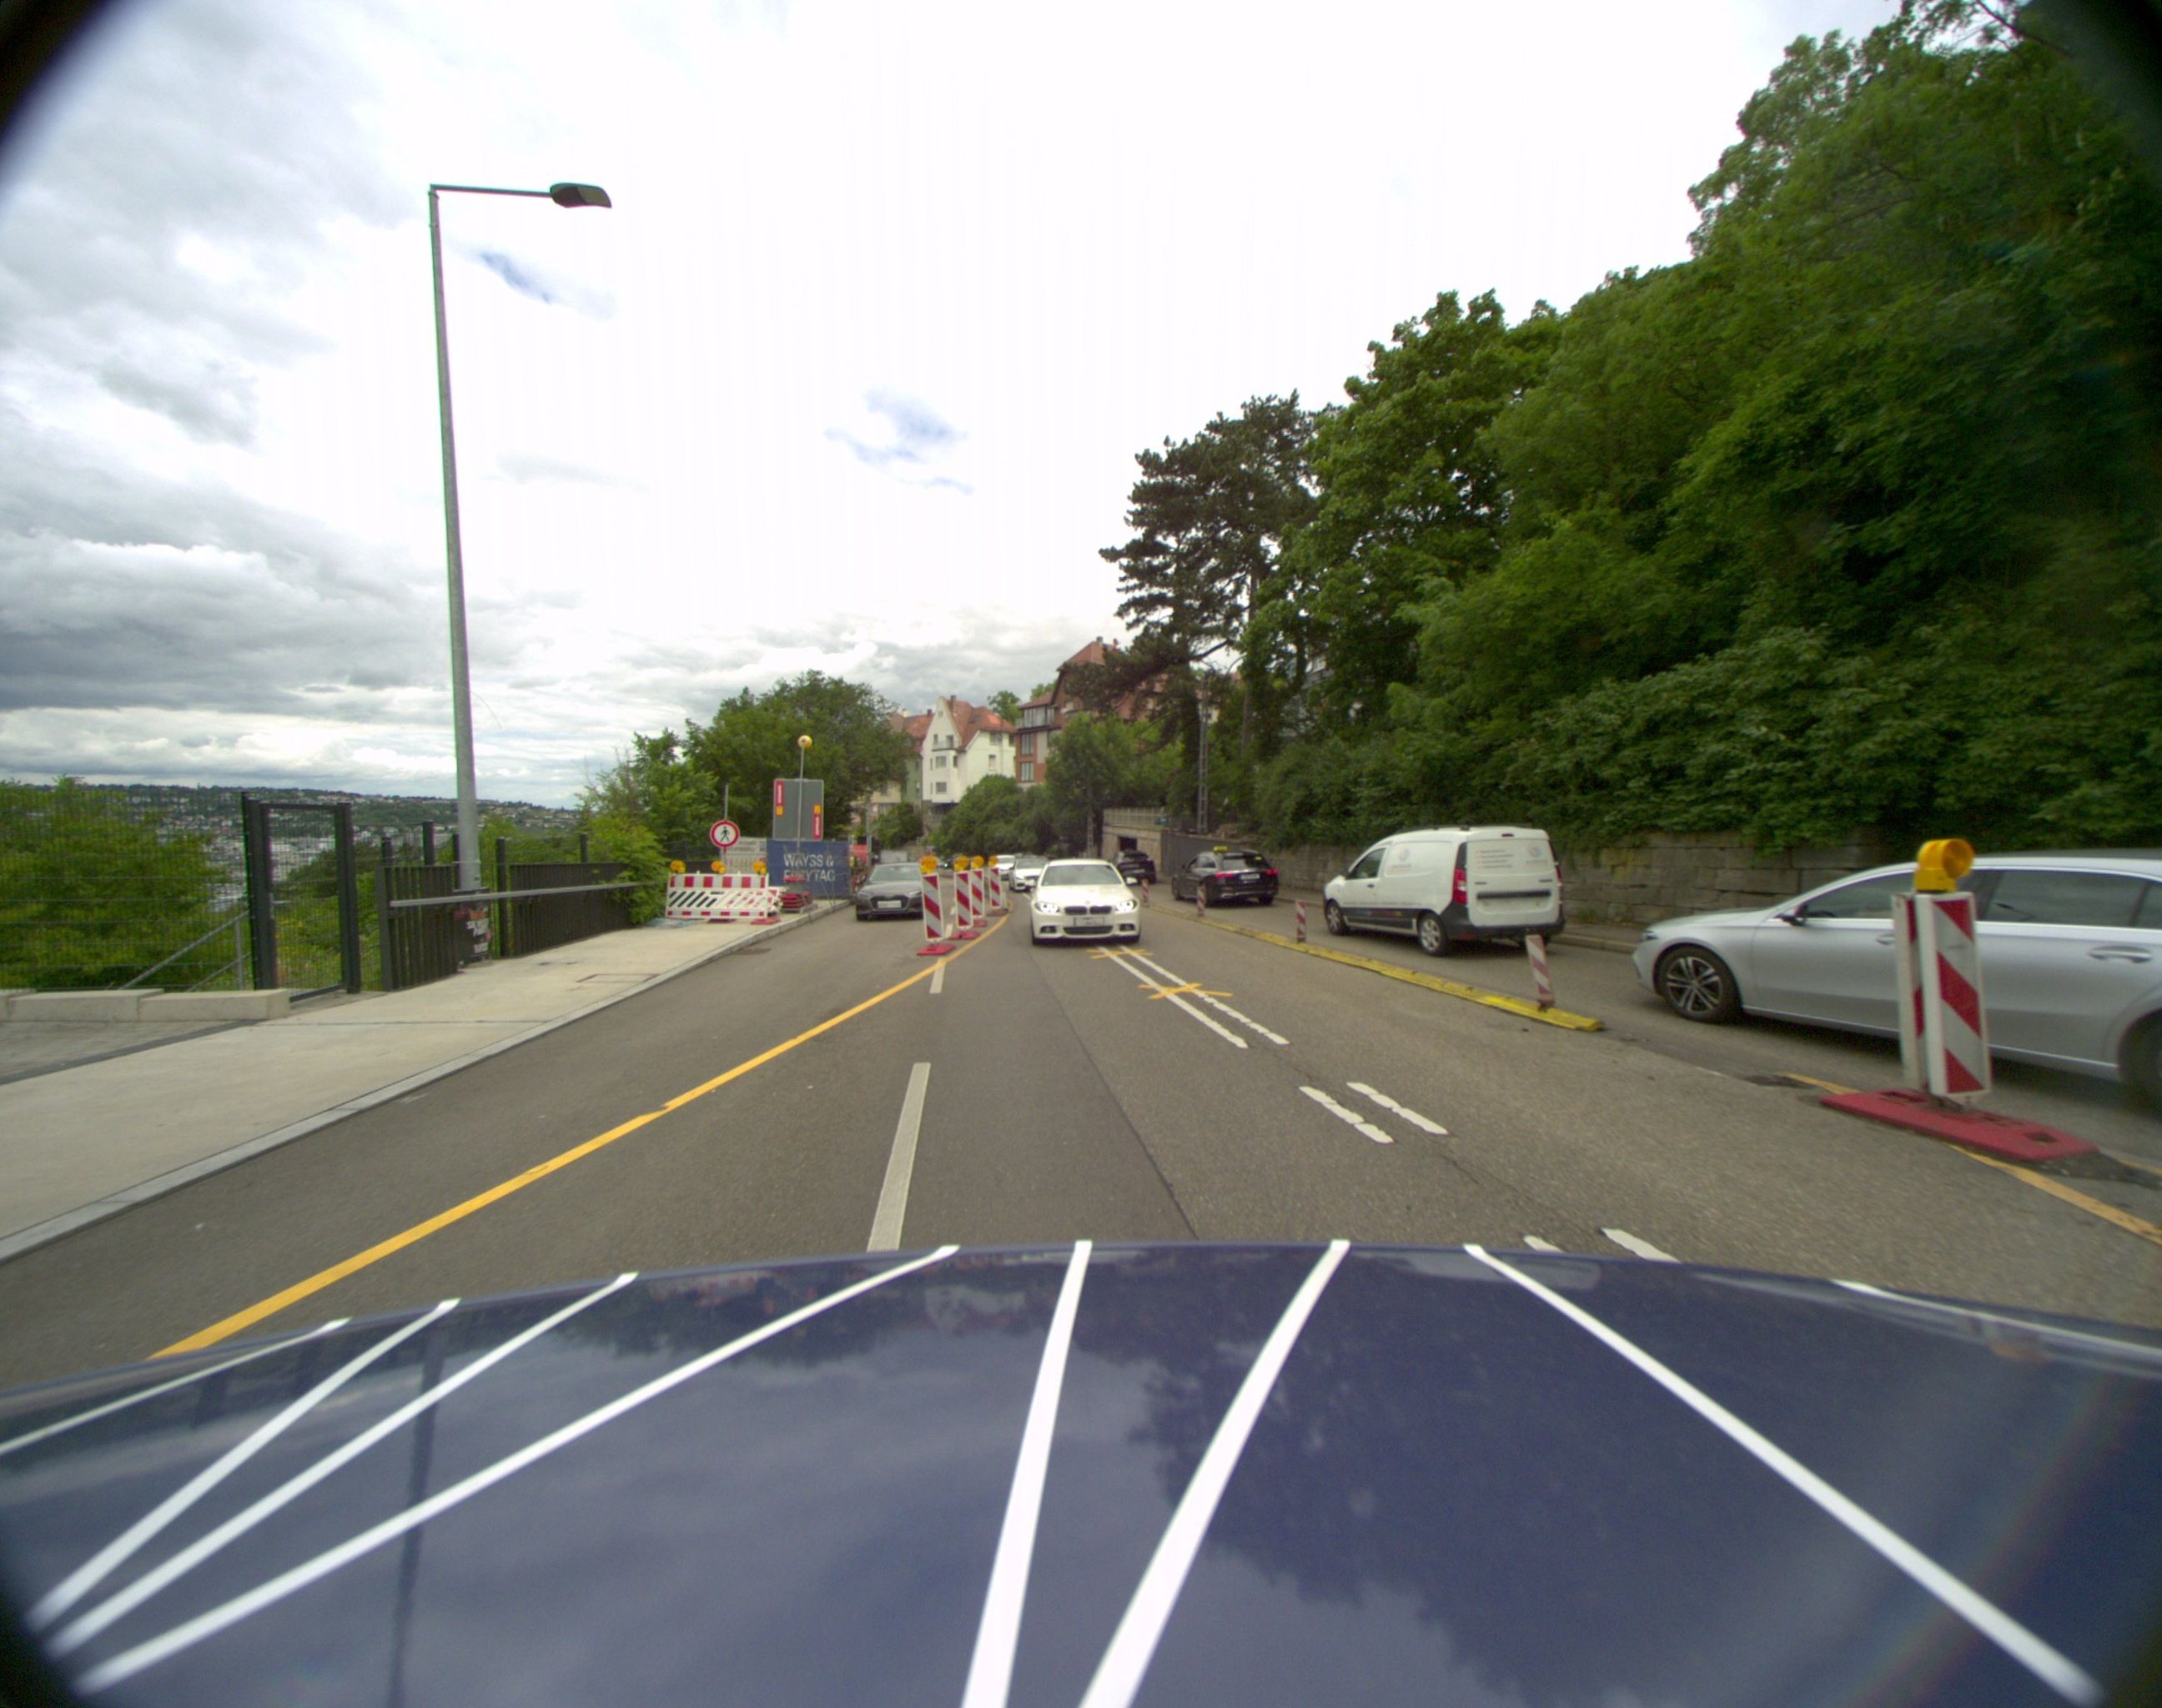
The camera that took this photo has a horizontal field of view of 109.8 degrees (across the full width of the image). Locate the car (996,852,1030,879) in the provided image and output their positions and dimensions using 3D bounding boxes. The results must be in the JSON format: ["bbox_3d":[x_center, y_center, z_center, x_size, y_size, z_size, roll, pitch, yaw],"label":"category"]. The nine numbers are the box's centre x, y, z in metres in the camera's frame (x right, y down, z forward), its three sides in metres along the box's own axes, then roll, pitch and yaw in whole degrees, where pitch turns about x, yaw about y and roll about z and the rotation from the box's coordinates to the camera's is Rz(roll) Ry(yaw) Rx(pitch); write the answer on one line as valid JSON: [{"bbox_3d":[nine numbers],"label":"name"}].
[{"bbox_3d":[-4.412,0.707,48.830,1.887,1.569,3.996,-3,1,-9],"label":"car"}]

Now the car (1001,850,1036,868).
[{"bbox_3d":[-5.646,0.456,68.649,1.826,1.426,3.708,-7,3,-25],"label":"car"}]

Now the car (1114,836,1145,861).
[{"bbox_3d":[3.712,-0.439,58.565,1.573,1.596,3.582,-3,5,-9],"label":"car"}]

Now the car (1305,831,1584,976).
[{"bbox_3d":[5.354,0.609,11.954,1.808,1.780,4.338,-3,1,-8],"label":"car"}]

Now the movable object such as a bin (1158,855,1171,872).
[{"bbox_3d":[4.547,0.519,41.565,0.544,0.933,0.600,-3,1,-10],"label":"movable object such as a bin"}]

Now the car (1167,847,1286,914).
[{"bbox_3d":[3.926,0.637,21.381,1.837,1.583,4.650,-3,1,-8],"label":"car"}]

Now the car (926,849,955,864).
[{"bbox_3d":[-16.029,0.298,86.475,1.685,1.409,3.781,-8,4,-36],"label":"car"}]

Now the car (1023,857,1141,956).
[{"bbox_3d":[-0.051,0.861,14.755,1.853,1.458,4.877,-3,1,-2],"label":"car"}]

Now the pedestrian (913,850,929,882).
[{"bbox_3d":[-9.657,0.736,45.930,0.717,1.873,0.620,-2,-2,41],"label":"pedestrian"}]

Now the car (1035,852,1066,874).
[{"bbox_3d":[-2.314,0.639,57.196,1.797,1.456,4.505,-3,1,-9],"label":"car"}]

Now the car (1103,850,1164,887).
[{"bbox_3d":[2.319,0.585,34.457,1.834,1.476,4.314,-3,1,-8],"label":"car"}]

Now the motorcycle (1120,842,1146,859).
[{"bbox_3d":[3.849,-0.277,56.357,1.844,1.177,0.636,-2,6,-5],"label":"motorcycle"}]

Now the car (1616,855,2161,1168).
[{"bbox_3d":[6.225,0.812,5.087,1.797,1.499,4.307,-3,1,-9],"label":"car"}]

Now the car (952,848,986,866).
[{"bbox_3d":[-11.015,0.272,74.355,1.772,1.587,3.782,-7,4,-32],"label":"car"}]

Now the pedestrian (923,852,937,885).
[{"bbox_3d":[-8.776,0.841,44.019,0.641,1.848,0.833,1,0,-20],"label":"pedestrian"}]

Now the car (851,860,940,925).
[{"bbox_3d":[-4.878,0.943,20.555,1.846,1.447,4.624,-2,0,-8],"label":"car"}]

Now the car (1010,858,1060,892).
[{"bbox_3d":[-2.055,0.868,33.108,1.799,1.299,4.097,-1,1,-9],"label":"car"}]

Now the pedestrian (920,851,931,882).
[{"bbox_3d":[-9.204,0.747,44.944,0.527,1.832,0.795,1,0,-20],"label":"pedestrian"}]

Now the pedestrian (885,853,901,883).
[{"bbox_3d":[-11.280,0.835,45.683,0.648,1.784,0.642,-5,3,-34],"label":"pedestrian"}]

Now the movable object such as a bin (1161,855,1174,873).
[{"bbox_3d":[4.651,0.524,40.969,0.544,0.933,0.600,-3,1,-10],"label":"movable object such as a bin"}]
